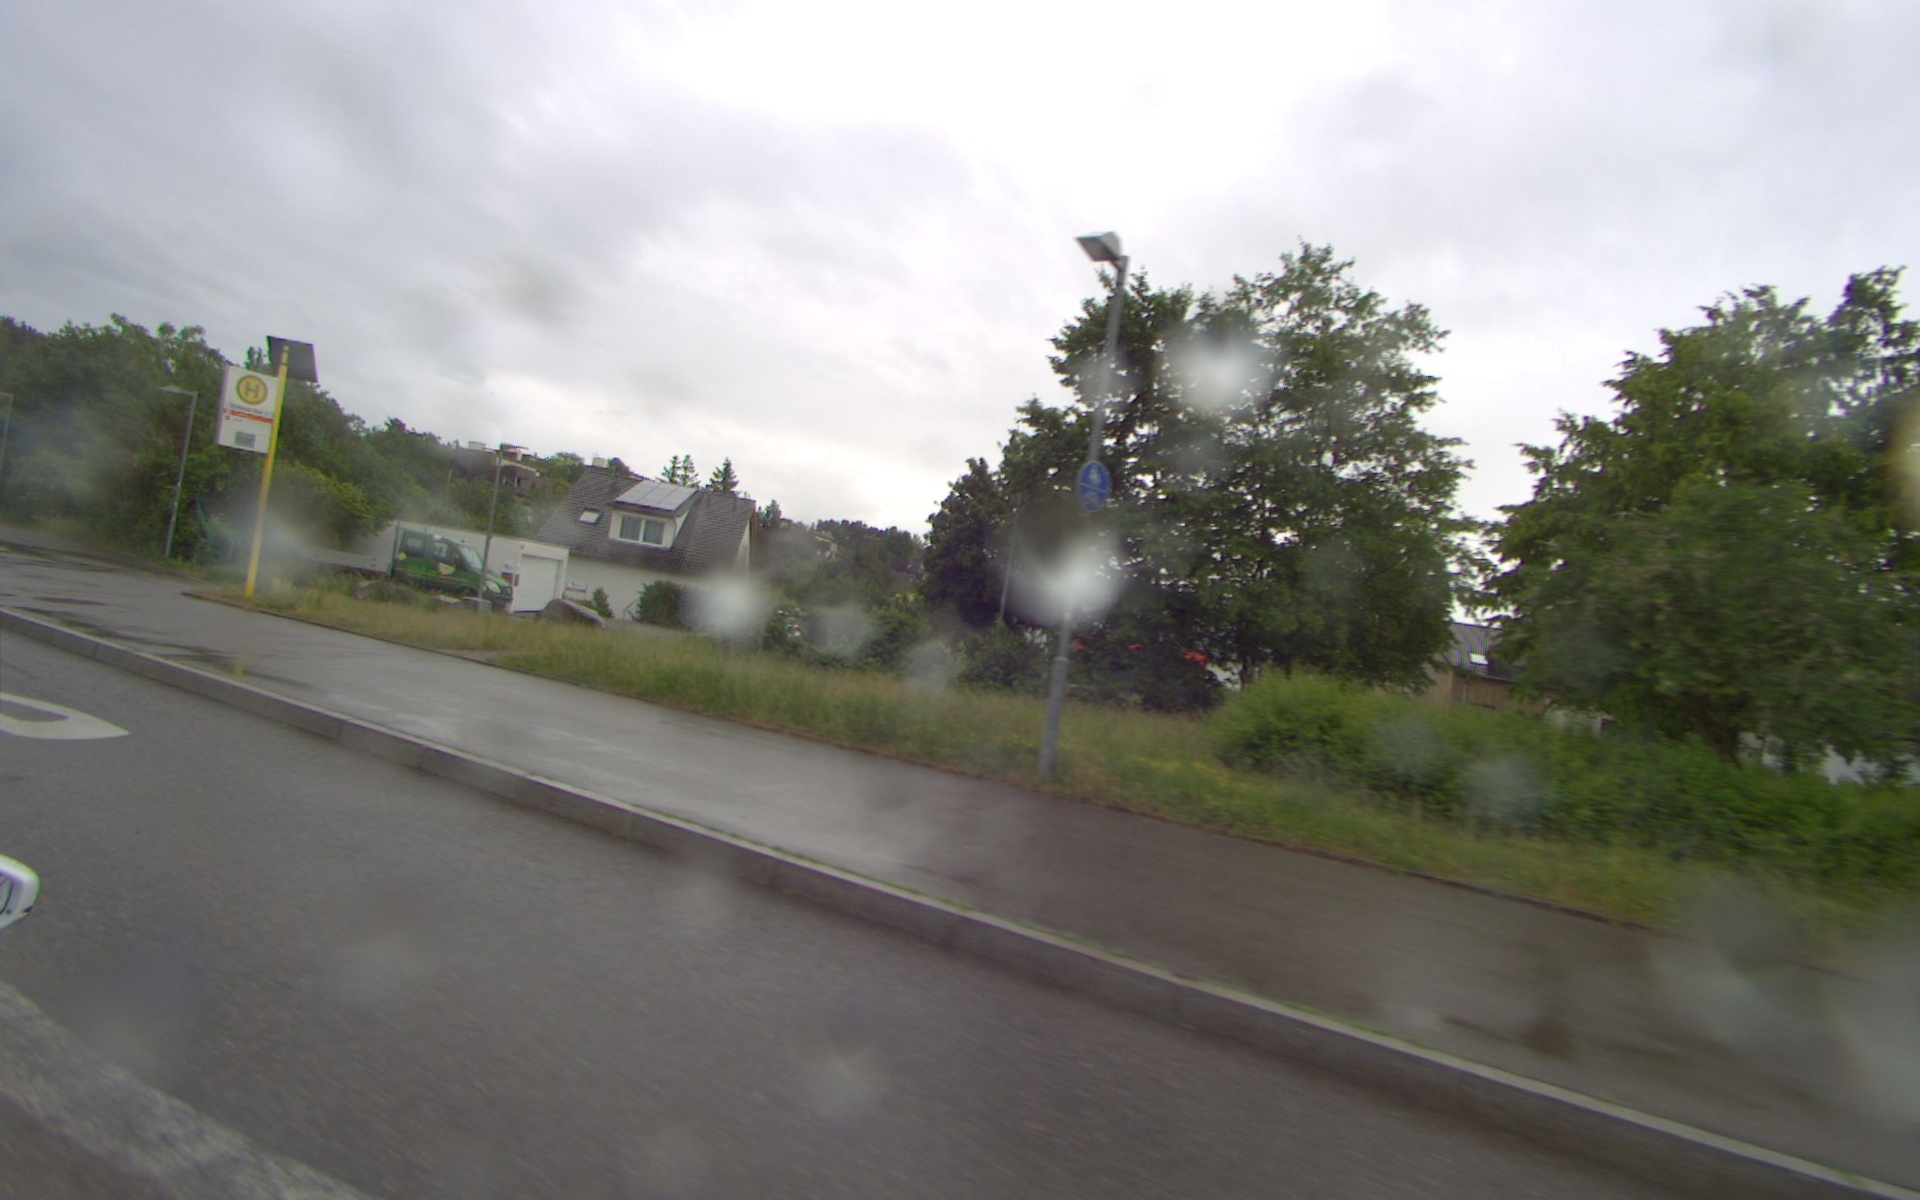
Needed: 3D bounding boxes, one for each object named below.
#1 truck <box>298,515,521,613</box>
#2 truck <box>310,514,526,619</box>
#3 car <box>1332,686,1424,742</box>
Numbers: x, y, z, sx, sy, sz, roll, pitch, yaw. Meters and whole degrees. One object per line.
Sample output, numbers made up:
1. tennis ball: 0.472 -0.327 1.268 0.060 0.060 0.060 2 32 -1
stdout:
1. truck: -17.557 -1.088 32.360 5.749 2.133 1.999 9 -2 -6
2. truck: -17.333 -1.006 32.433 5.538 2.555 1.999 7 -2 -7
3. car: 18.469 5.002 44.630 1.945 1.770 3.998 9 -1 -4
